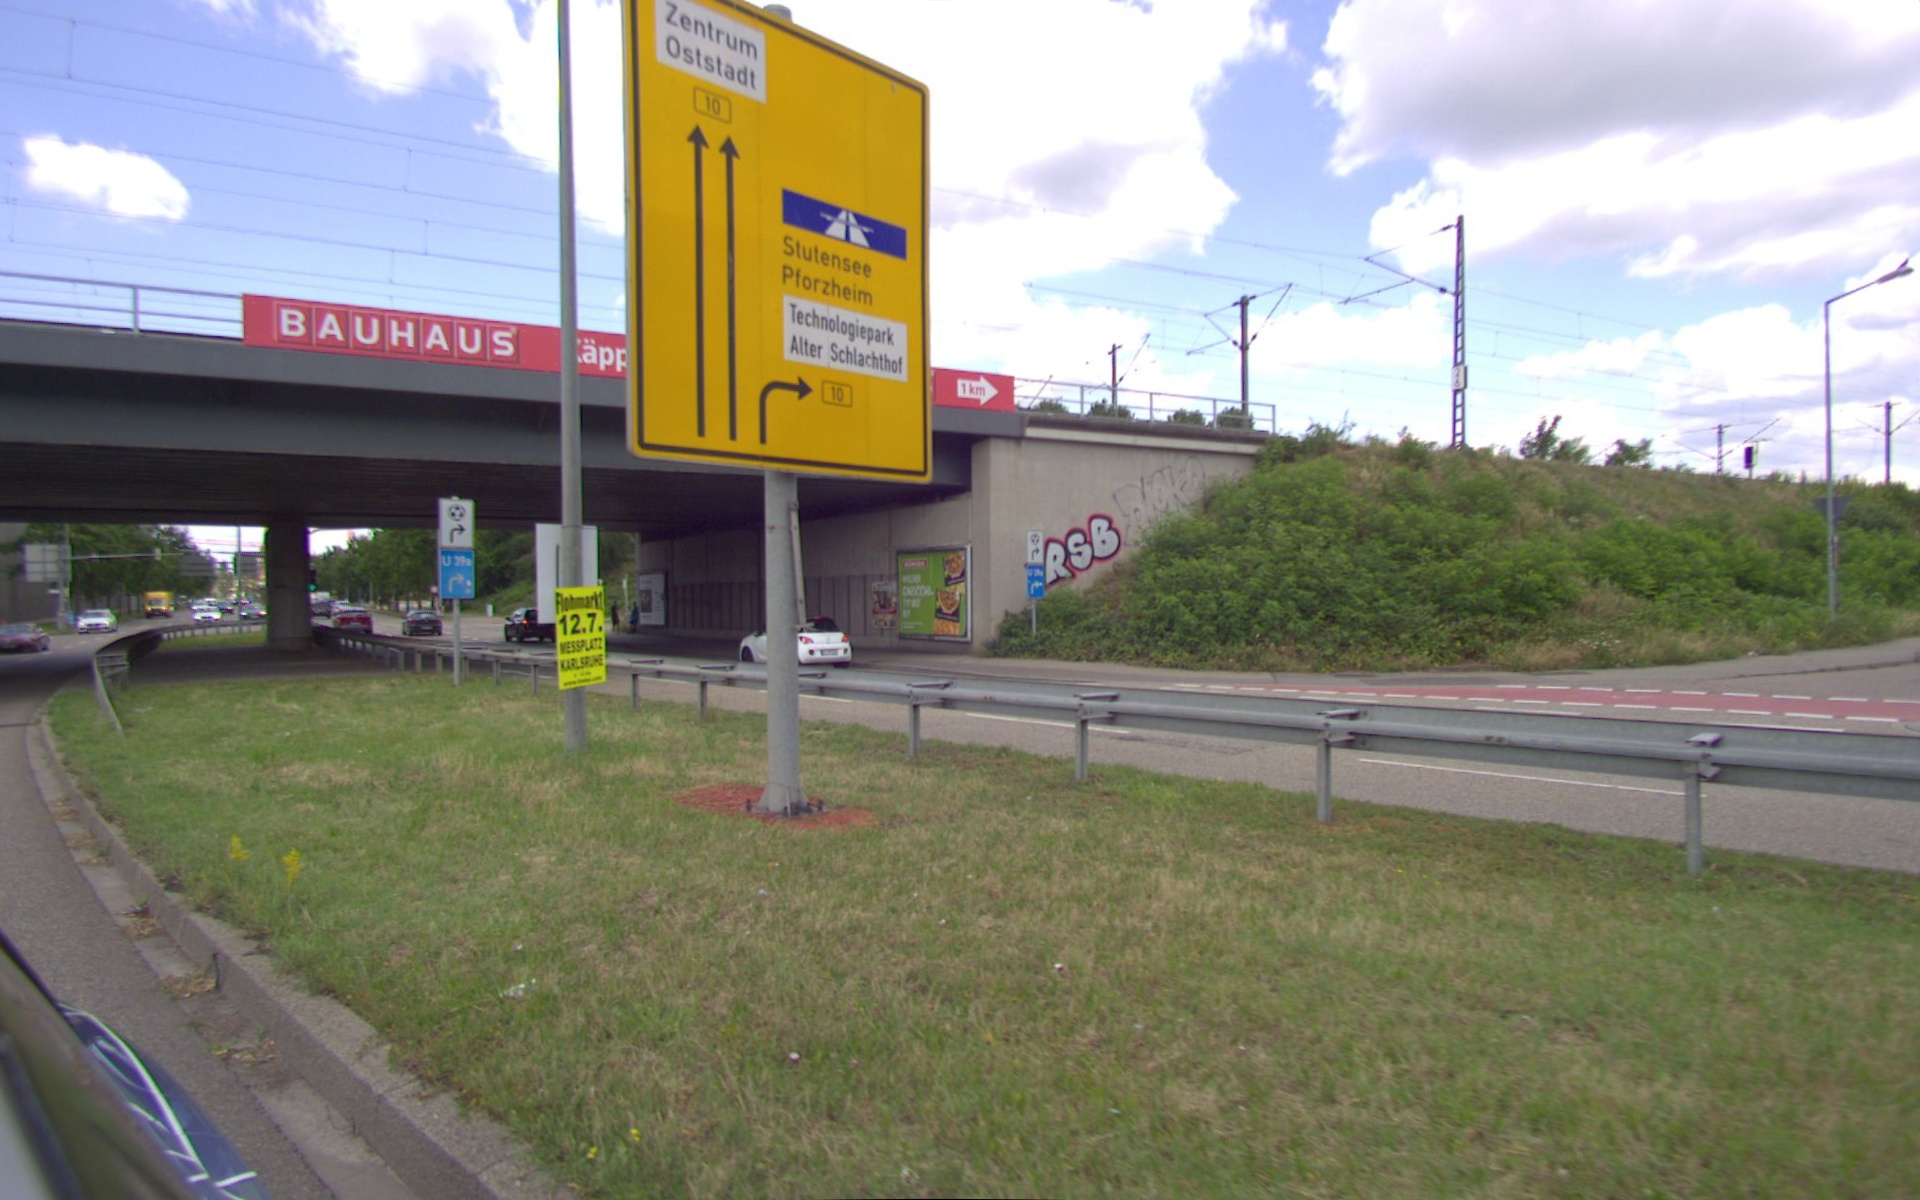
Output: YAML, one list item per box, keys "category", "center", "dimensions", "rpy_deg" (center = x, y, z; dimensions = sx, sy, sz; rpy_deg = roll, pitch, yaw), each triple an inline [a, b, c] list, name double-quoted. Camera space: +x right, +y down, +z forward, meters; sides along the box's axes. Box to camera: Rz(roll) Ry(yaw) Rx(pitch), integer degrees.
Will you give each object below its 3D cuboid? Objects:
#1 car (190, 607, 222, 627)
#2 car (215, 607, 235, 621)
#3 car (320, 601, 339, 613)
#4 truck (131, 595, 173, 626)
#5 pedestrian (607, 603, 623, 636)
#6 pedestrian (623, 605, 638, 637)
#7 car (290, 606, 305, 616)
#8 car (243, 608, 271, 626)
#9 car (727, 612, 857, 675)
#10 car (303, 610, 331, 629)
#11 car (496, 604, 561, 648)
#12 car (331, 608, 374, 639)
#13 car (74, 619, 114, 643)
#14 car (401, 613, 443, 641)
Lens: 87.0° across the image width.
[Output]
- category: "car"
  center: [-61.156, 1.357, 82.126]
  dimensions: [1.890, 1.425, 4.306]
  rpy_deg: [-4, 2, -35]
- category: "car"
  center: [-84.690, 1.596, 116.667]
  dimensions: [1.754, 1.507, 3.607]
  rpy_deg: [0, 0, -35]
- category: "car"
  center: [-86.824, 0.928, 139.343]
  dimensions: [1.900, 1.541, 4.010]
  rpy_deg: [1, 0, -35]
- category: "truck"
  center: [-87.664, 1.095, 109.887]
  dimensions: [3.018, 3.136, 7.955]
  rpy_deg: [0, 0, -35]
- category: "pedestrian"
  center: [-17.833, 1.022, 52.315]
  dimensions: [0.583, 1.693, 0.557]
  rpy_deg: [-1, 0, -37]
- category: "pedestrian"
  center: [-16.920, 1.066, 51.989]
  dimensions: [0.546, 1.637, 0.588]
  rpy_deg: [-1, 0, -34]
- category: "car"
  center: [-127.618, 2.109, 194.954]
  dimensions: [2.161, 1.978, 5.206]
  rpy_deg: [0, 0, -36]
- category: "car"
  center: [-61.640, 1.438, 88.746]
  dimensions: [1.967, 1.426, 4.844]
  rpy_deg: [-3, 1, -35]
- category: "car"
  center: [-4.601, 1.124, 27.276]
  dimensions: [1.729, 1.522, 4.008]
  rpy_deg: [-1, -1, -38]
- category: "car"
  center: [-62.429, 1.838, 98.174]
  dimensions: [1.967, 1.772, 4.727]
  rpy_deg: [-1, 0, -37]
- category: "car"
  center: [-20.871, 1.210, 48.845]
  dimensions: [1.967, 2.029, 4.347]
  rpy_deg: [-1, 0, -36]
- category: "car"
  center: [-35.090, 1.306, 58.547]
  dimensions: [1.966, 1.687, 4.337]
  rpy_deg: [-1, 0, -29]
- category: "car"
  center: [-59.253, 2.129, 69.282]
  dimensions: [1.686, 1.507, 3.659]
  rpy_deg: [0, 0, -35]
- category: "car"
  center: [-30.774, 1.491, 57.822]
  dimensions: [1.920, 1.384, 4.012]
  rpy_deg: [-2, 2, -30]
